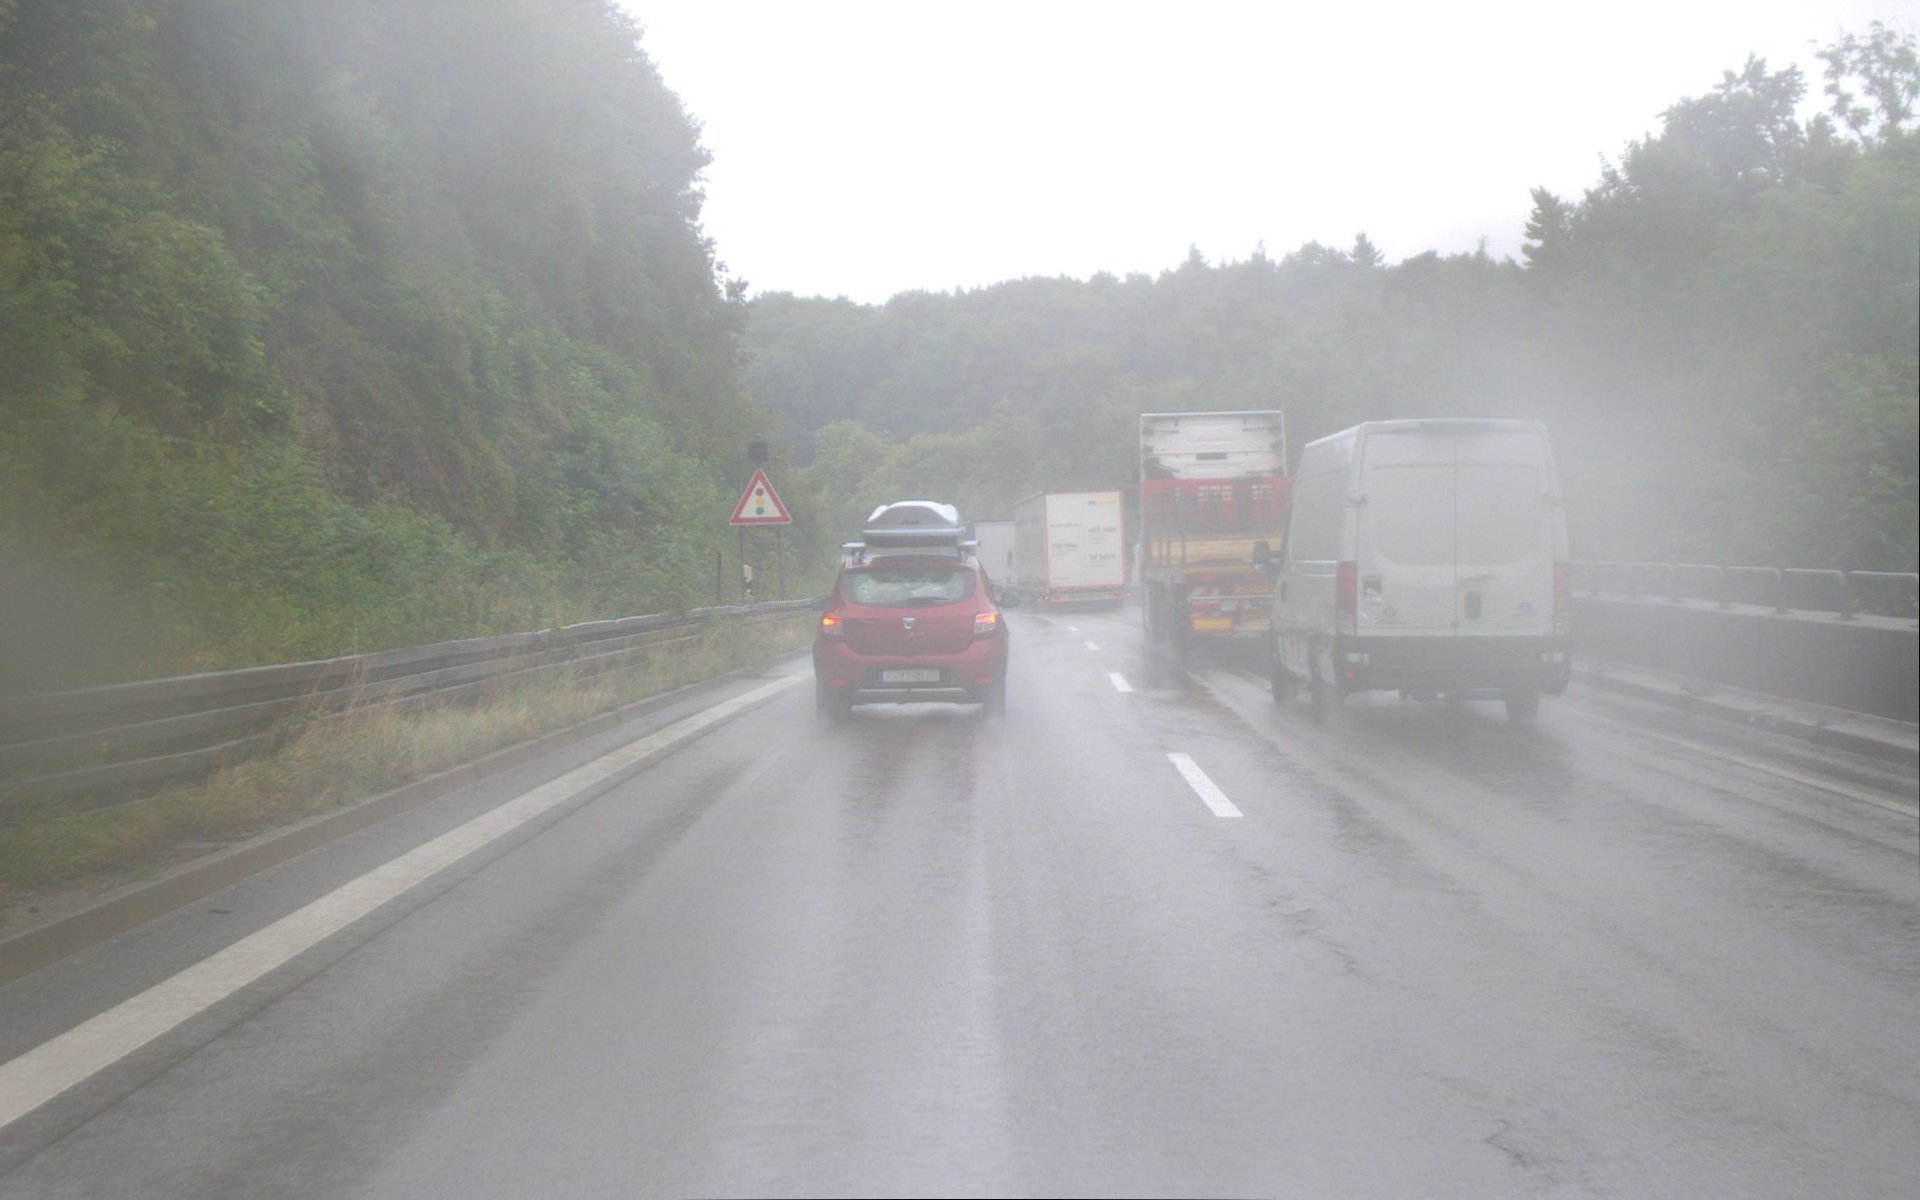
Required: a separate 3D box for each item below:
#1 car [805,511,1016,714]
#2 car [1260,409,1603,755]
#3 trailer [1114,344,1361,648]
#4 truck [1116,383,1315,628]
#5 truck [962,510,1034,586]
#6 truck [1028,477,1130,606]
[{"bbox_3d":[-0.422,0.084,31.840,1.758,1.679,4.000,-3,1,0],"label":"car"},{"bbox_3d":[4.139,-0.200,31.537,2.206,2.784,7.382,1,1,1],"label":"car"},{"bbox_3d":[4.012,-1.478,52.300,3.218,3.985,13.523,-1,1,3],"label":"trailer"},{"bbox_3d":[4.316,-1.587,58.956,3.220,3.964,5.438,-1,1,3],"label":"truck"},{"bbox_3d":[1.652,-2.351,154.136,3.062,3.300,8.071,0,1,0],"label":"truck"},{"bbox_3d":[3.949,-1.948,116.448,2.687,4.080,9.316,-3,1,-2],"label":"truck"}]
